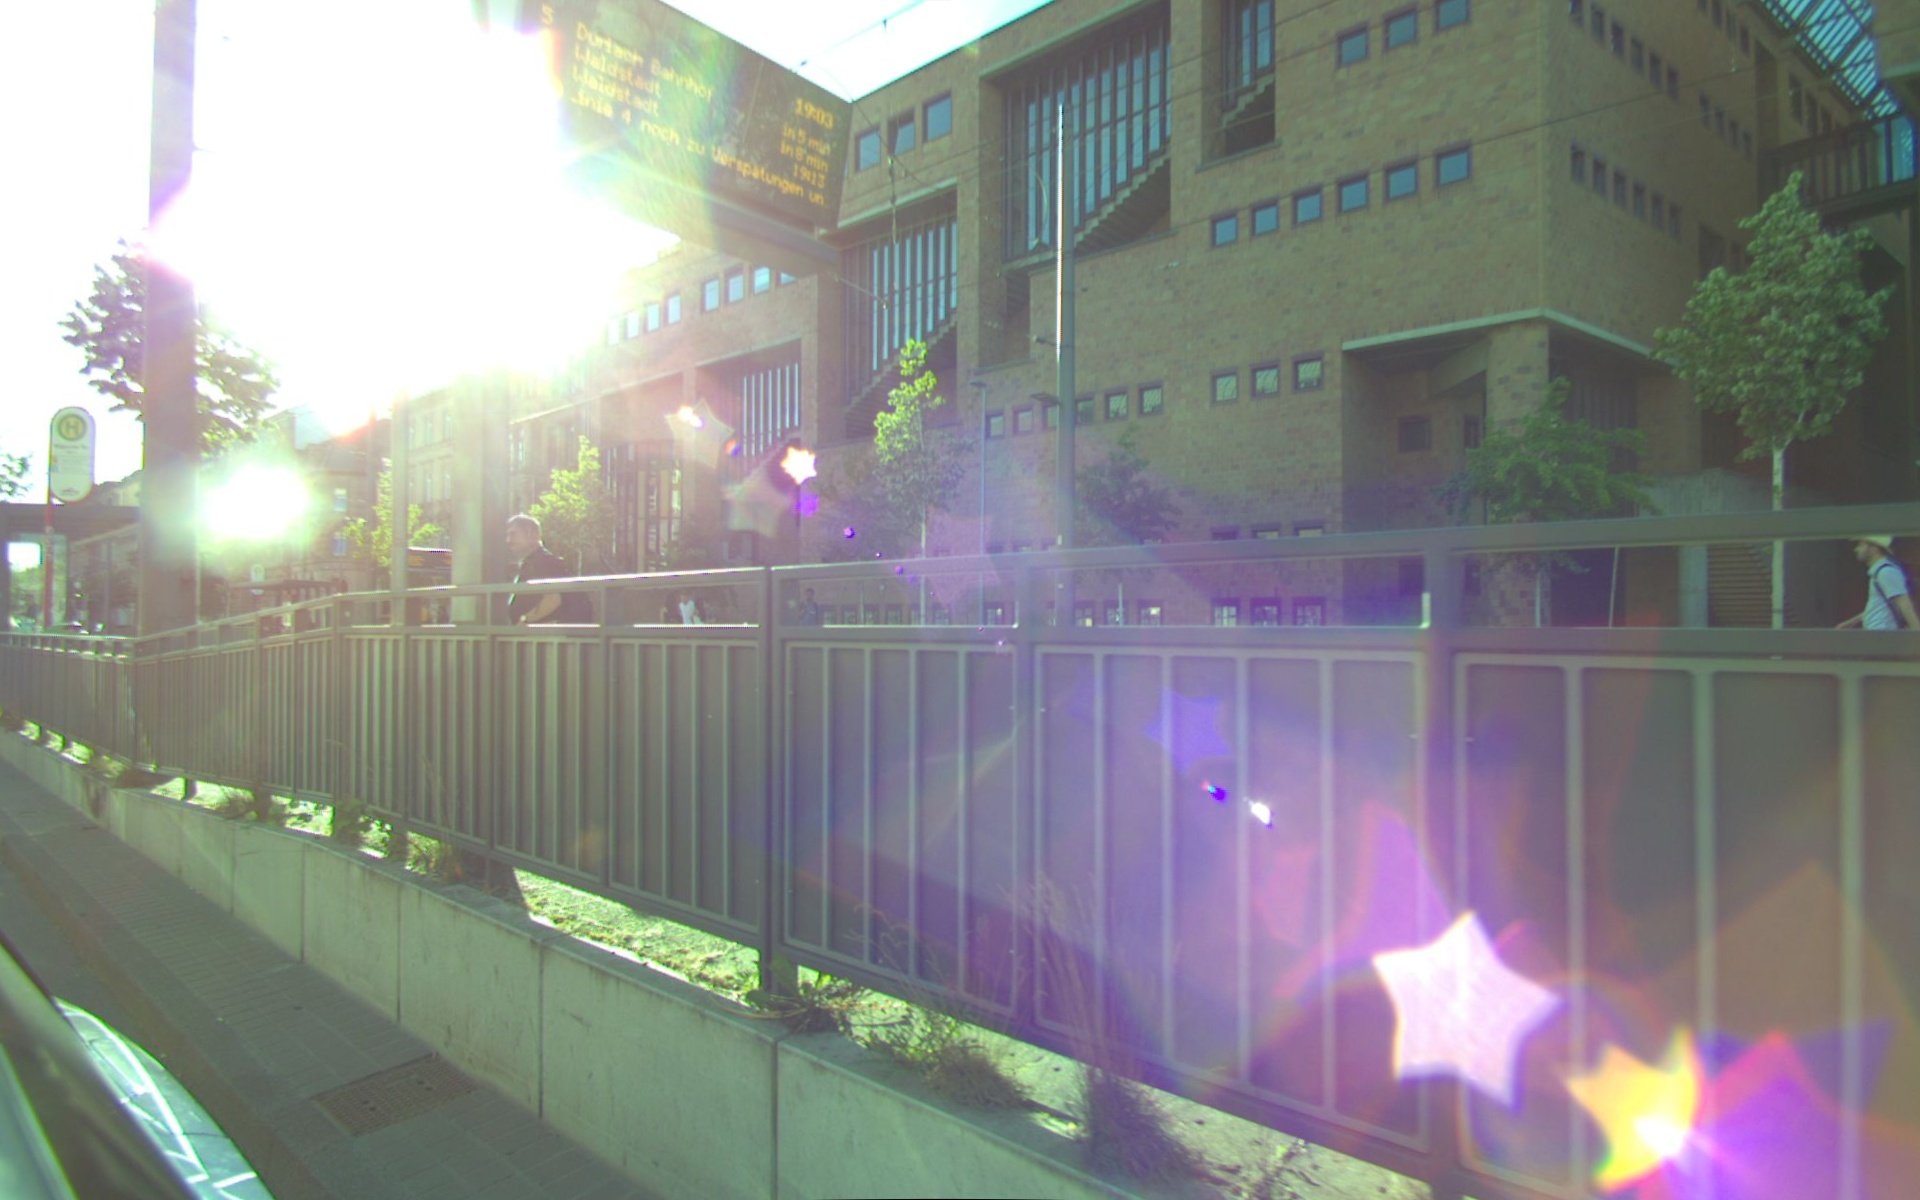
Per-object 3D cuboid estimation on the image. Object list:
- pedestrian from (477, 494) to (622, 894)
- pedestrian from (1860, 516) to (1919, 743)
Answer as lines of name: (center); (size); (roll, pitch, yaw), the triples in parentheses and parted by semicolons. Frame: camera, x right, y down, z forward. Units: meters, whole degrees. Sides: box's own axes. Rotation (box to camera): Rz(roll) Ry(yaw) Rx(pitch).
pedestrian: (-2.713, 0.576, 6.686); (0.684, 2.461, 0.618); (-1, 0, 40)
pedestrian: (7.926, 0.235, 8.375); (0.668, 1.821, 0.677); (-1, 0, 40)
